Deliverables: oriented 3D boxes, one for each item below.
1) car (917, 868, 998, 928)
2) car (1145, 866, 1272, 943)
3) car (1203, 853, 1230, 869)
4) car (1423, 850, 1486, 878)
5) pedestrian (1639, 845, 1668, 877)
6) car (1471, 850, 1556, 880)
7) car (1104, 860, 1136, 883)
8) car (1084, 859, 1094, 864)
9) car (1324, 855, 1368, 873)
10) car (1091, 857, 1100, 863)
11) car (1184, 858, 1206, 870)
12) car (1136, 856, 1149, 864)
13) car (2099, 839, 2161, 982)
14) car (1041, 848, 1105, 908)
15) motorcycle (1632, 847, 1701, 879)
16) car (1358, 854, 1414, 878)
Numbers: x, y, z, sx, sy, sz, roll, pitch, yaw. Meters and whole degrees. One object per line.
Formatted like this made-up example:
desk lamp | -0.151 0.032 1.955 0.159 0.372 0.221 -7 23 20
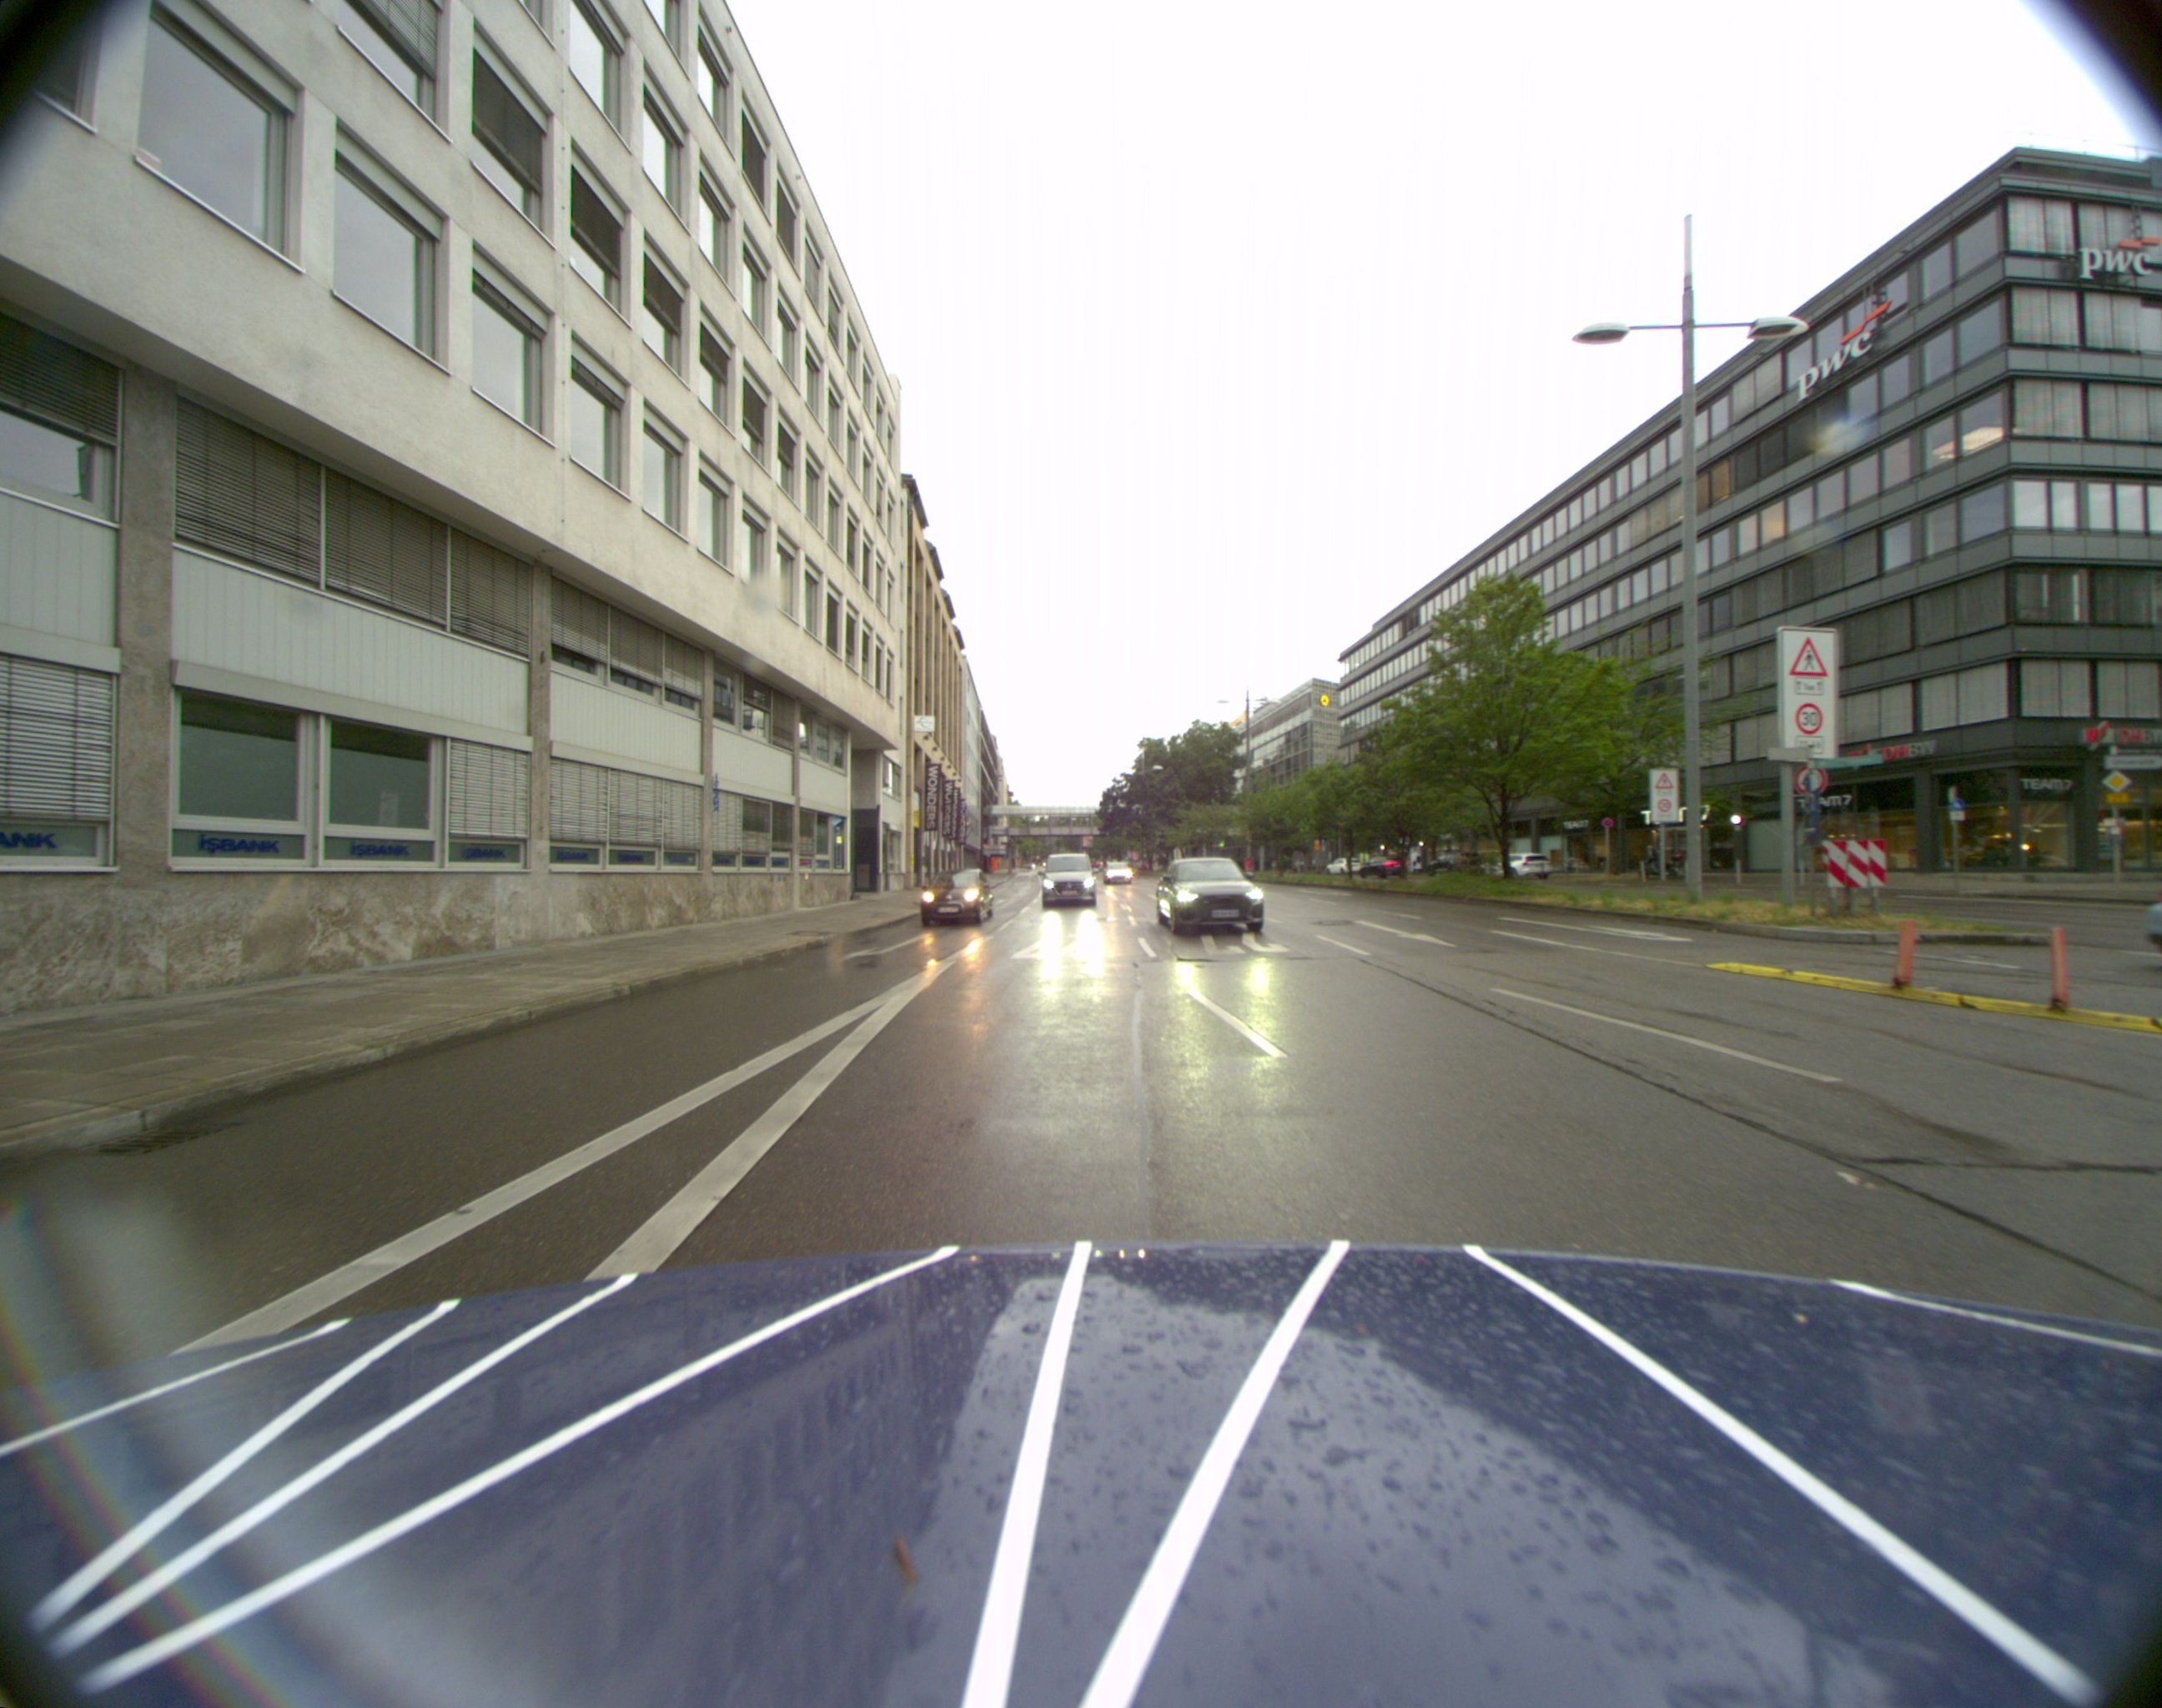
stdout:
car | -3.359 1.163 21.250 1.666 1.464 3.484 -1 0 0
car | 2.651 1.011 16.864 1.941 1.426 4.287 -1 0 -2
car | 14.828 0.780 83.436 1.742 1.717 4.491 -2 0 -6
car | 24.091 0.606 49.155 1.813 1.651 4.309 -2 0 -2
pedestrian | 30.161 0.366 40.033 0.786 1.628 0.965 -1 0 -3
car | 24.375 0.597 43.017 1.813 1.476 4.771 -4 0 -3
car | 2.618 1.153 51.896 1.853 1.434 3.870 -1 0 -1
car | 1.908 1.789 180.901 1.732 1.303 4.075 -2 0 -7
car | 22.848 0.841 65.649 1.814 1.436 4.308 -2 0 -6
car | 3.538 1.534 187.587 1.733 1.303 4.075 -1 0 -7
car | 13.751 1.172 91.723 1.687 1.423 4.082 -1 0 -5
car | 11.537 1.077 142.939 1.814 1.467 4.299 -1 0 -5
car | 13.451 0.585 7.485 3.681 1.564 1.793 -1 0 29
car | -0.401 0.830 28.444 2.163 2.014 5.040 -1 0 -3
motorcycle | 27.266 0.435 35.446 0.861 1.386 2.364 -5 2 -30
car | 20.616 0.770 51.538 1.998 1.535 4.483 -1 0 0
